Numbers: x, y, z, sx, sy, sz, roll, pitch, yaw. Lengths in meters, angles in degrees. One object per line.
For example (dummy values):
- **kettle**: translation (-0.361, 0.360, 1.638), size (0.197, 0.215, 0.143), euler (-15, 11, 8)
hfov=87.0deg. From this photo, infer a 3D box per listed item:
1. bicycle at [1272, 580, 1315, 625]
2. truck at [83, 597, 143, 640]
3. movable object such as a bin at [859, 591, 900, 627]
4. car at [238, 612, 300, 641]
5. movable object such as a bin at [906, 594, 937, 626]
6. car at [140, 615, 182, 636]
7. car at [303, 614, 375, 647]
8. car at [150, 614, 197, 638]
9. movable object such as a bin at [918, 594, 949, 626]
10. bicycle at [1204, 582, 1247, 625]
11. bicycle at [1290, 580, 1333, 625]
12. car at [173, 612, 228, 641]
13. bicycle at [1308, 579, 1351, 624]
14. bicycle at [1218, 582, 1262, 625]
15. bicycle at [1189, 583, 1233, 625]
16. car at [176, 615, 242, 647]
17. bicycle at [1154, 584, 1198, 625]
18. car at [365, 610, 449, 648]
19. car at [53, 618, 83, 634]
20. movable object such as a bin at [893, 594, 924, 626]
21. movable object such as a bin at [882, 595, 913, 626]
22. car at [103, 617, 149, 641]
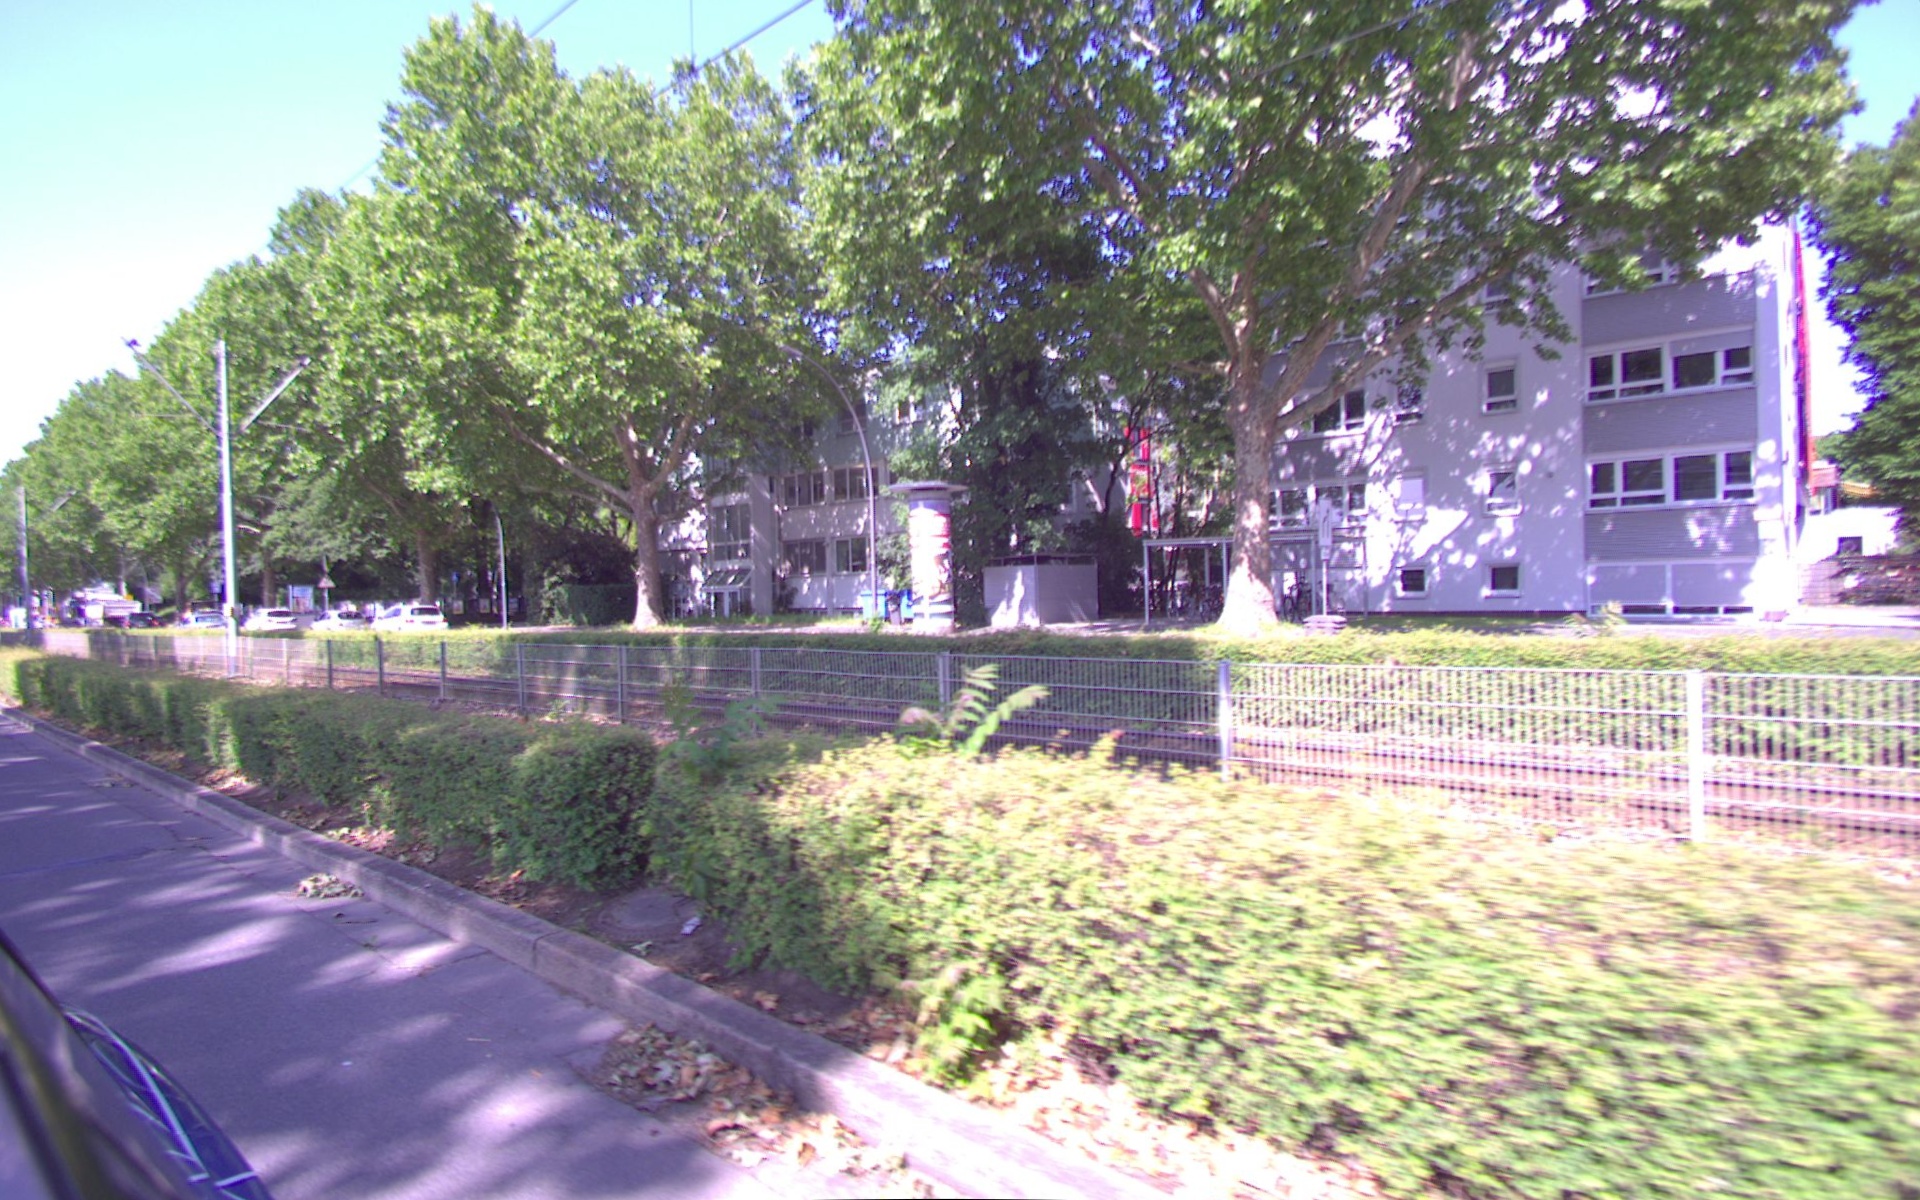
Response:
- **bicycle**: translation (8.846, 0.051, 26.817), size (0.421, 1.111, 1.747), euler (-2, 1, 41)
- **truck**: translation (-69.916, 1.524, 83.502), size (6.538, 3.303, 2.716), euler (-2, 1, 41)
- **movable object such as a bin**: translation (-2.800, 0.317, 35.322), size (1.098, 1.198, 0.887), euler (-2, 0, 41)
- **car**: translation (-37.937, 1.449, 55.533), size (3.998, 1.464, 1.836), euler (-2, 1, 41)
- **movable object such as a bin**: translation (-1.281, 0.340, 33.968), size (0.545, 1.044, 0.887), euler (-2, 0, 41)
- **car**: translation (-58.801, 1.884, 74.472), size (3.863, 1.464, 1.730), euler (-2, 1, 41)
- **car**: translation (-29.958, 1.451, 48.783), size (3.998, 1.464, 1.833), euler (-2, 1, 41)
- **car**: translation (-52.603, 1.732, 67.680), size (3.890, 1.424, 1.680), euler (-2, 3, 41)
- **movable object such as a bin**: translation (-0.865, 0.331, 33.586), size (0.545, 1.044, 0.887), euler (-2, 0, 41)
- **bicycle**: translation (7.345, 0.087, 27.959), size (0.421, 1.111, 1.747), euler (-2, 1, 41)
- **bicycle**: translation (9.224, 0.042, 26.494), size (0.421, 1.111, 1.747), euler (-2, 1, 41)
- **car**: translation (-45.509, 1.603, 60.607), size (3.998, 1.594, 1.836), euler (-2, 1, 41)
- **bicycle**: translation (9.569, 0.034, 26.185), size (0.421, 1.111, 1.747), euler (-2, 1, 41)
- **bicycle**: translation (7.670, 0.080, 27.664), size (0.421, 1.111, 1.747), euler (-2, 1, 41)
- **bicycle**: translation (7.021, 0.094, 28.290), size (0.421, 1.111, 1.747), euler (-2, 1, 41)
- **car**: translation (-37.414, 1.553, 50.381), size (3.998, 1.464, 1.836), euler (-2, 1, 41)
- **bicycle**: translation (6.209, 0.113, 29.011), size (0.421, 1.111, 1.747), euler (-2, 1, 41)
- **car**: translation (-22.615, 1.181, 41.312), size (3.911, 1.502, 1.796), euler (-2, -2, 41)
- **car**: translation (-87.796, 2.579, 99.634), size (3.863, 1.464, 1.730), euler (-2, 1, 41)
- **movable object such as a bin**: translation (-1.741, 0.351, 34.362), size (0.545, 1.044, 0.887), euler (-2, 0, 41)
- **movable object such as a bin**: translation (-2.141, 0.360, 34.764), size (0.545, 1.044, 0.887), euler (-2, 0, 41)
- **car**: translation (-54.729, 1.895, 66.407), size (3.890, 1.424, 1.680), euler (-2, 3, 41)
